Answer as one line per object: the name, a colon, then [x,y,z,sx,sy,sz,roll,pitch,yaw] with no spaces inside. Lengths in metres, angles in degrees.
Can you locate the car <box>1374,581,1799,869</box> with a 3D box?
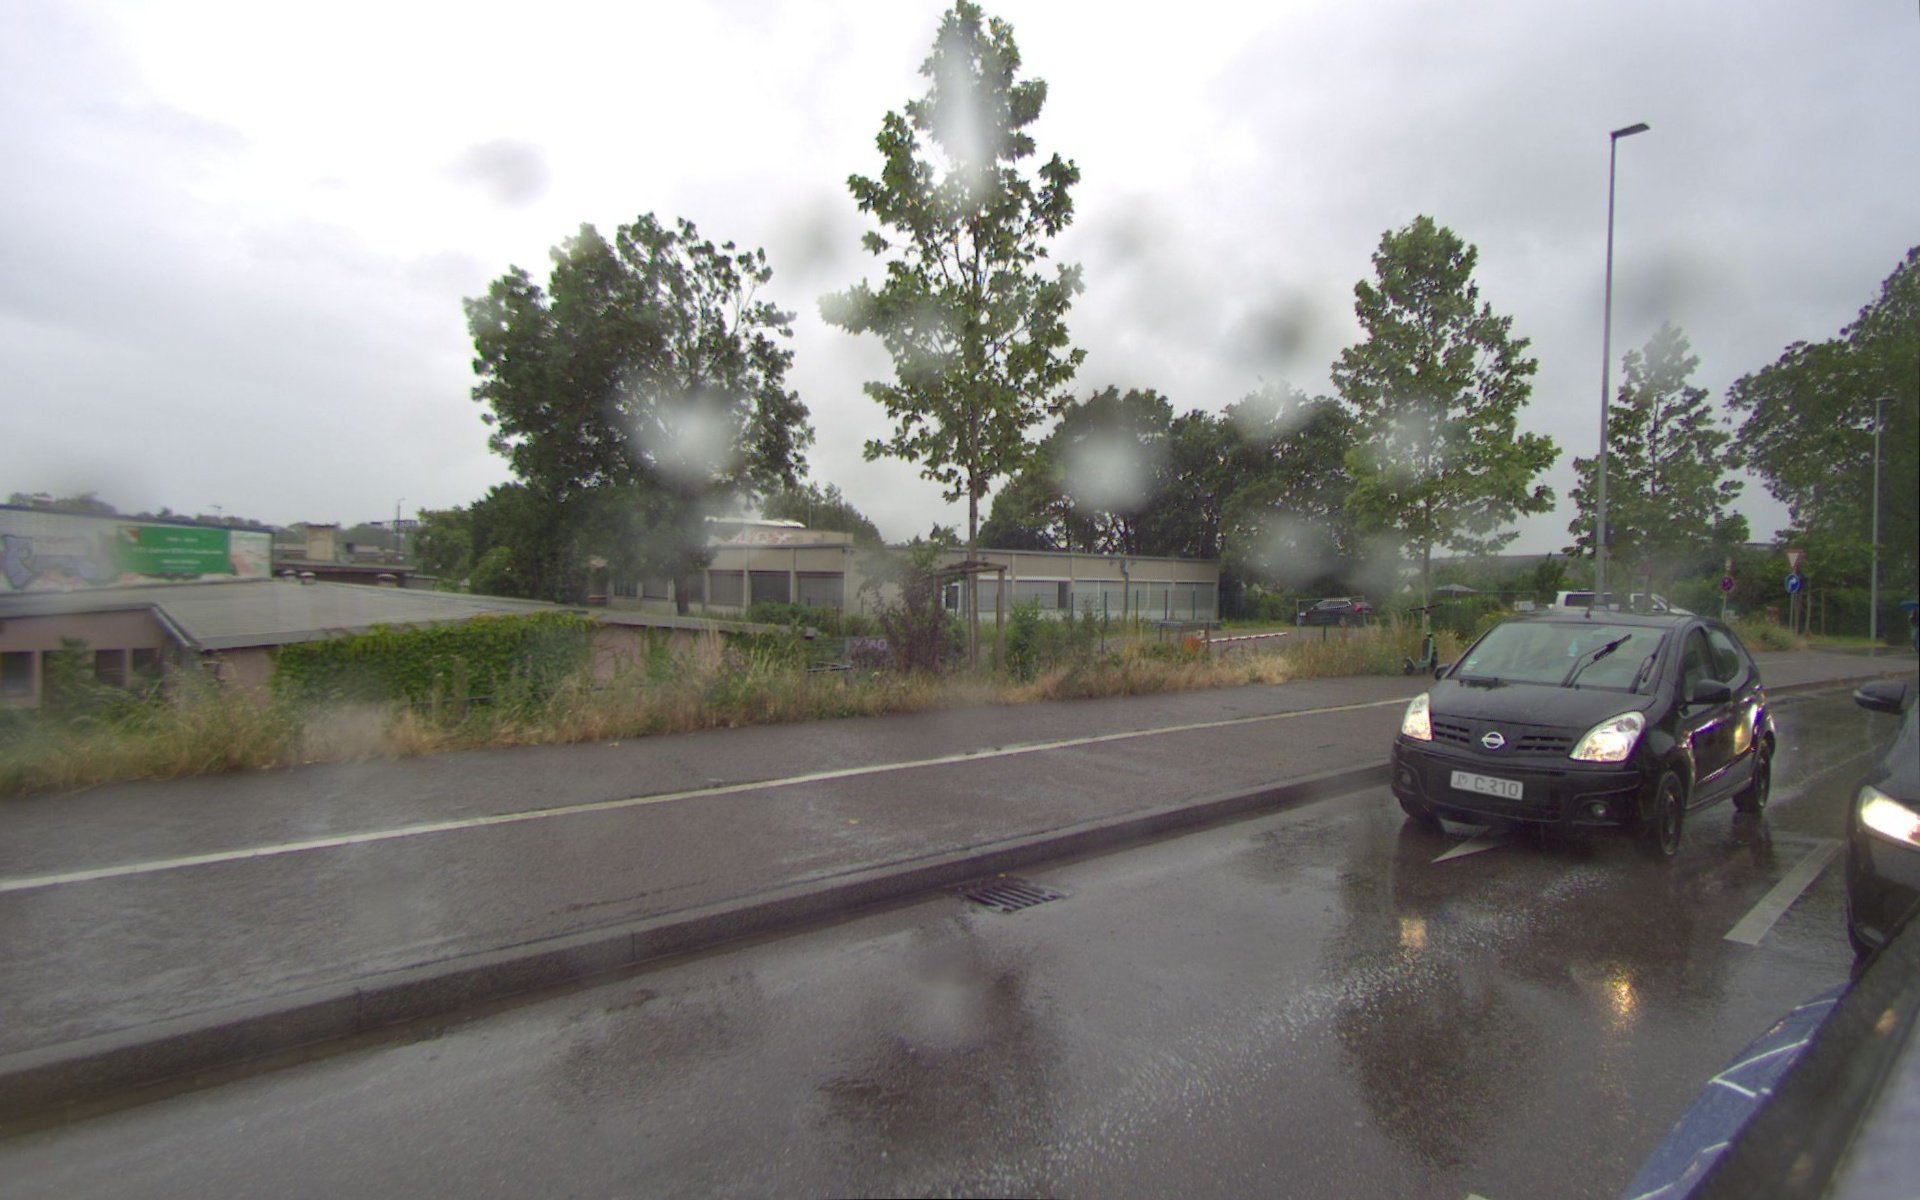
car: [4.532,0.664,7.131,3.554,1.528,1.556,0,0,-41]

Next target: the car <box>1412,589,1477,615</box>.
car: [30.940,0.114,64.677,1.319,1.604,3.555,0,0,-35]

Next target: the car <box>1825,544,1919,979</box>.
car: [5.553,0.619,4.421,4.089,1.601,1.760,1,0,-35]

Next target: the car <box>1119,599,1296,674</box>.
car: [4.690,0.643,19.486,1.319,1.304,3.246,0,0,-35]

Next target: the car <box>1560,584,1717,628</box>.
car: [28.296,0.229,42.353,1.972,1.747,5.168,0,0,-42]

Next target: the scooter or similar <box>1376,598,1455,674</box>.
scooter or similar: [7.671,0.584,17.002,1.877,1.214,0.367,0,0,-38]
